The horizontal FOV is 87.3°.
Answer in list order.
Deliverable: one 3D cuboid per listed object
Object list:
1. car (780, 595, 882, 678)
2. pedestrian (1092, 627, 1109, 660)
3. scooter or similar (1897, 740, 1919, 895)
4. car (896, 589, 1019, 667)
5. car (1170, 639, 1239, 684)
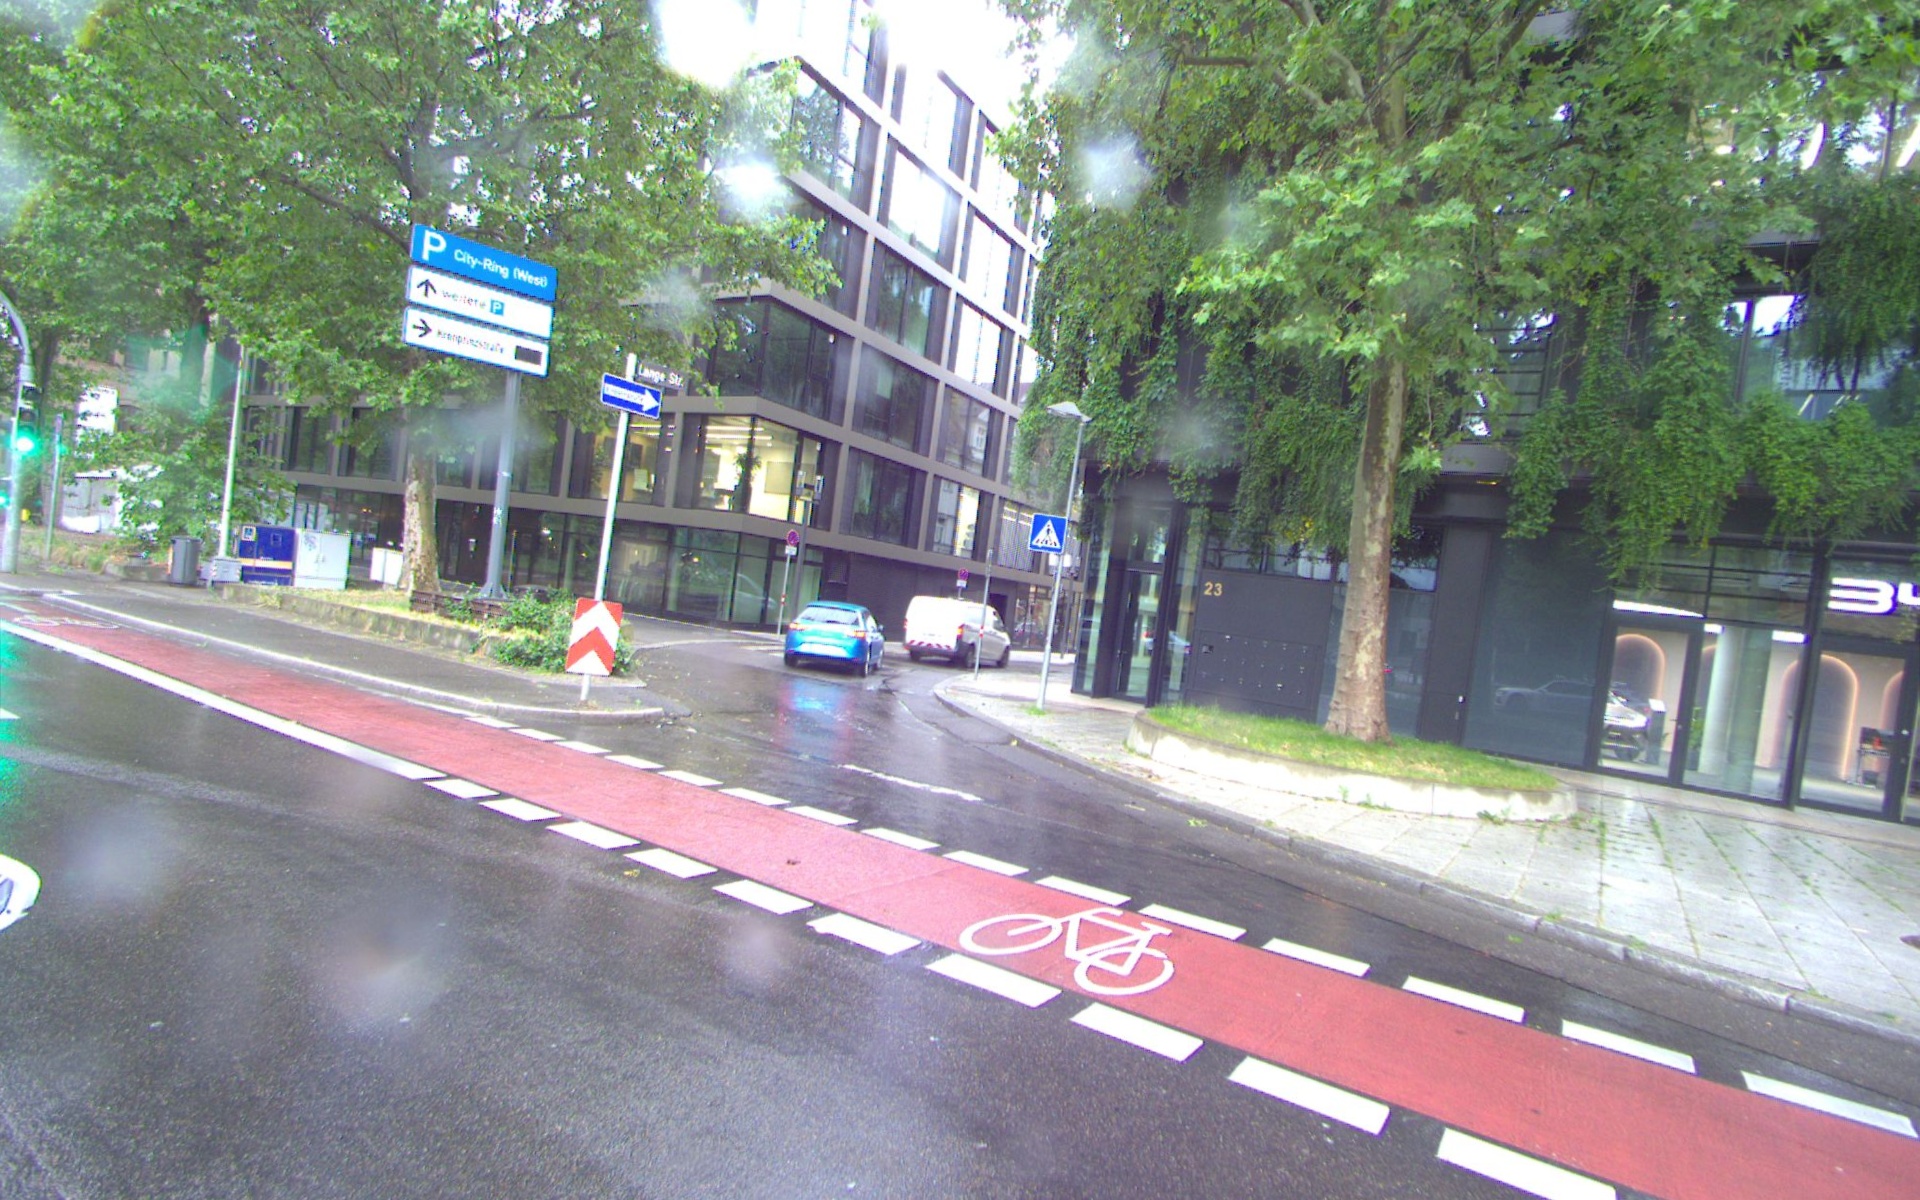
[{"bbox_3d":[-2.689,0.745,21.813,1.769,1.453,4.061,6,-1,-3],"label":"car"},{"bbox_3d":[7.134,2.219,51.085,0.537,1.579,0.503,6,-1,29],"label":"pedestrian"},{"bbox_3d":[8.485,1.875,8.117,0.528,1.297,1.184,7,-1,-8],"label":"scooter or similar"},{"bbox_3d":[0.039,0.924,30.294,1.890,1.969,4.965,6,-1,21],"label":"car"},{"bbox_3d":[10.767,2.732,44.135,1.814,1.607,3.997,6,-2,30],"label":"car"}]
